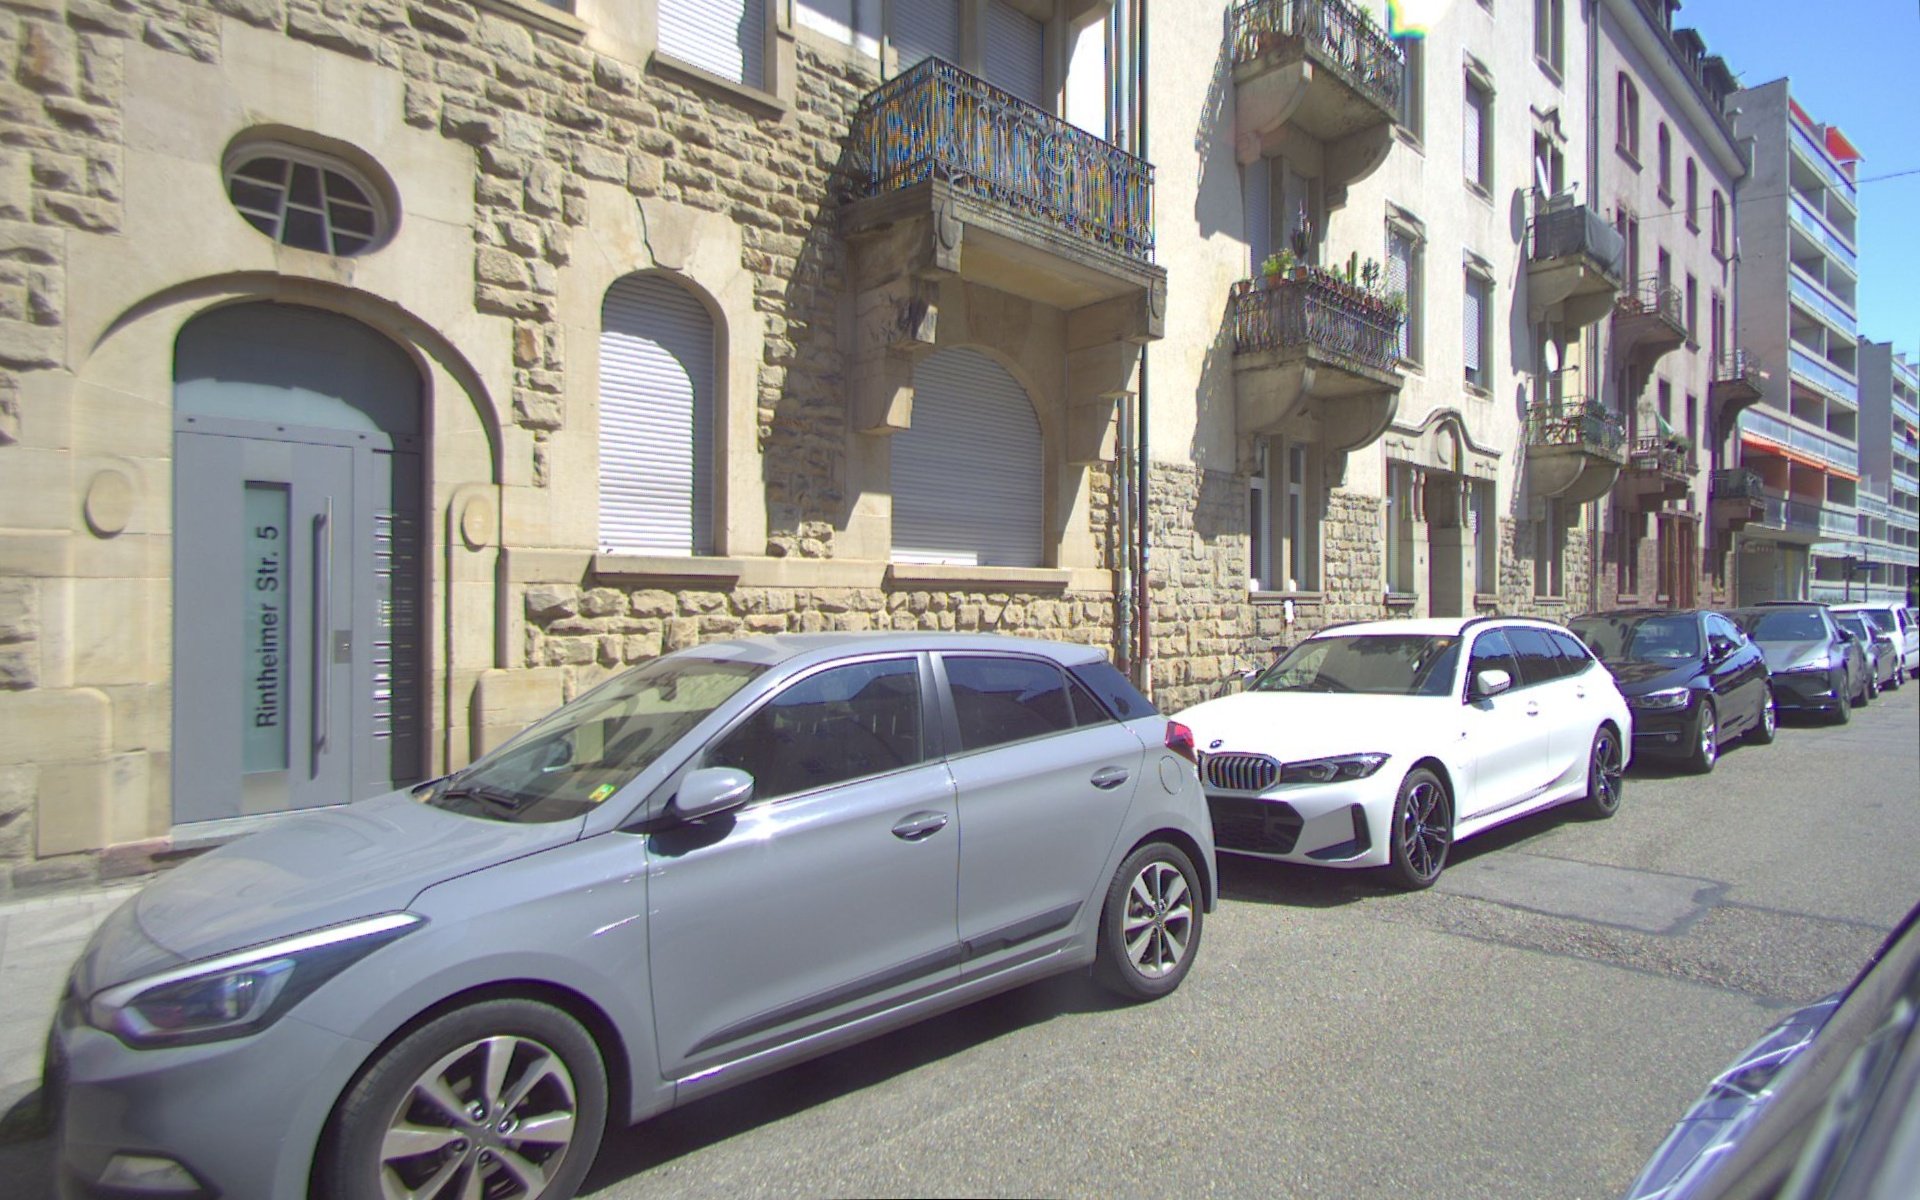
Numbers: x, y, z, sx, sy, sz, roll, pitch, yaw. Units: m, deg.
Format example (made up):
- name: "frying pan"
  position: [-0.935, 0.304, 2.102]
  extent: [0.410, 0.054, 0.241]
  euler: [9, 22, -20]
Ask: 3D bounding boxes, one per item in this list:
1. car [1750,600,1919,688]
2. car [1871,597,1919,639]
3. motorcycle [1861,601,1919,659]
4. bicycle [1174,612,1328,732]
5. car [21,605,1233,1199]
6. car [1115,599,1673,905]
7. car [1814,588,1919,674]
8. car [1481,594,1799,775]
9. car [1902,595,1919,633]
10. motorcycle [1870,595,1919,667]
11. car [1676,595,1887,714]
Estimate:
- name: "car"
  position: [15.888, 0.706, 18.297]
  extent: [4.277, 1.375, 1.789]
  euler: [0, 1, -42]
- name: "car"
  position: [37.010, 0.664, 39.500]
  extent: [3.835, 1.512, 1.752]
  euler: [-1, 1, -41]
- name: "motorcycle"
  position: [25.079, 0.761, 26.425]
  extent: [2.157, 1.448, 0.732]
  euler: [-3, -2, 9]
- name: "bicycle"
  position: [3.414, 0.784, 11.780]
  extent: [2.088, 1.204, 0.641]
  euler: [-1, 4, -41]
- name: "car"
  position: [-0.796, 0.797, 3.700]
  extent: [3.789, 1.471, 1.592]
  euler: [-1, -1, -41]
- name: "car"
  position: [3.270, 0.774, 7.133]
  extent: [4.515, 1.471, 1.719]
  euler: [-1, -1, -40]
- name: "car"
  position: [19.717, 0.575, 21.440]
  extent: [4.016, 1.642, 1.652]
  euler: [-1, 1, -38]
- name: "car"
  position: [7.353, 0.700, 10.737]
  extent: [4.588, 1.476, 1.739]
  euler: [-1, 1, -42]
- name: "car"
  position: [40.812, 0.578, 42.285]
  extent: [3.835, 1.512, 1.752]
  euler: [-1, 1, -41]
- name: "motorcycle"
  position: [23.022, 0.690, 23.861]
  extent: [2.157, 1.643, 0.764]
  euler: [-3, -2, 8]
- name: "car"
  position: [11.850, 0.657, 14.490]
  extent: [4.415, 1.450, 1.824]
  euler: [0, 0, -44]
